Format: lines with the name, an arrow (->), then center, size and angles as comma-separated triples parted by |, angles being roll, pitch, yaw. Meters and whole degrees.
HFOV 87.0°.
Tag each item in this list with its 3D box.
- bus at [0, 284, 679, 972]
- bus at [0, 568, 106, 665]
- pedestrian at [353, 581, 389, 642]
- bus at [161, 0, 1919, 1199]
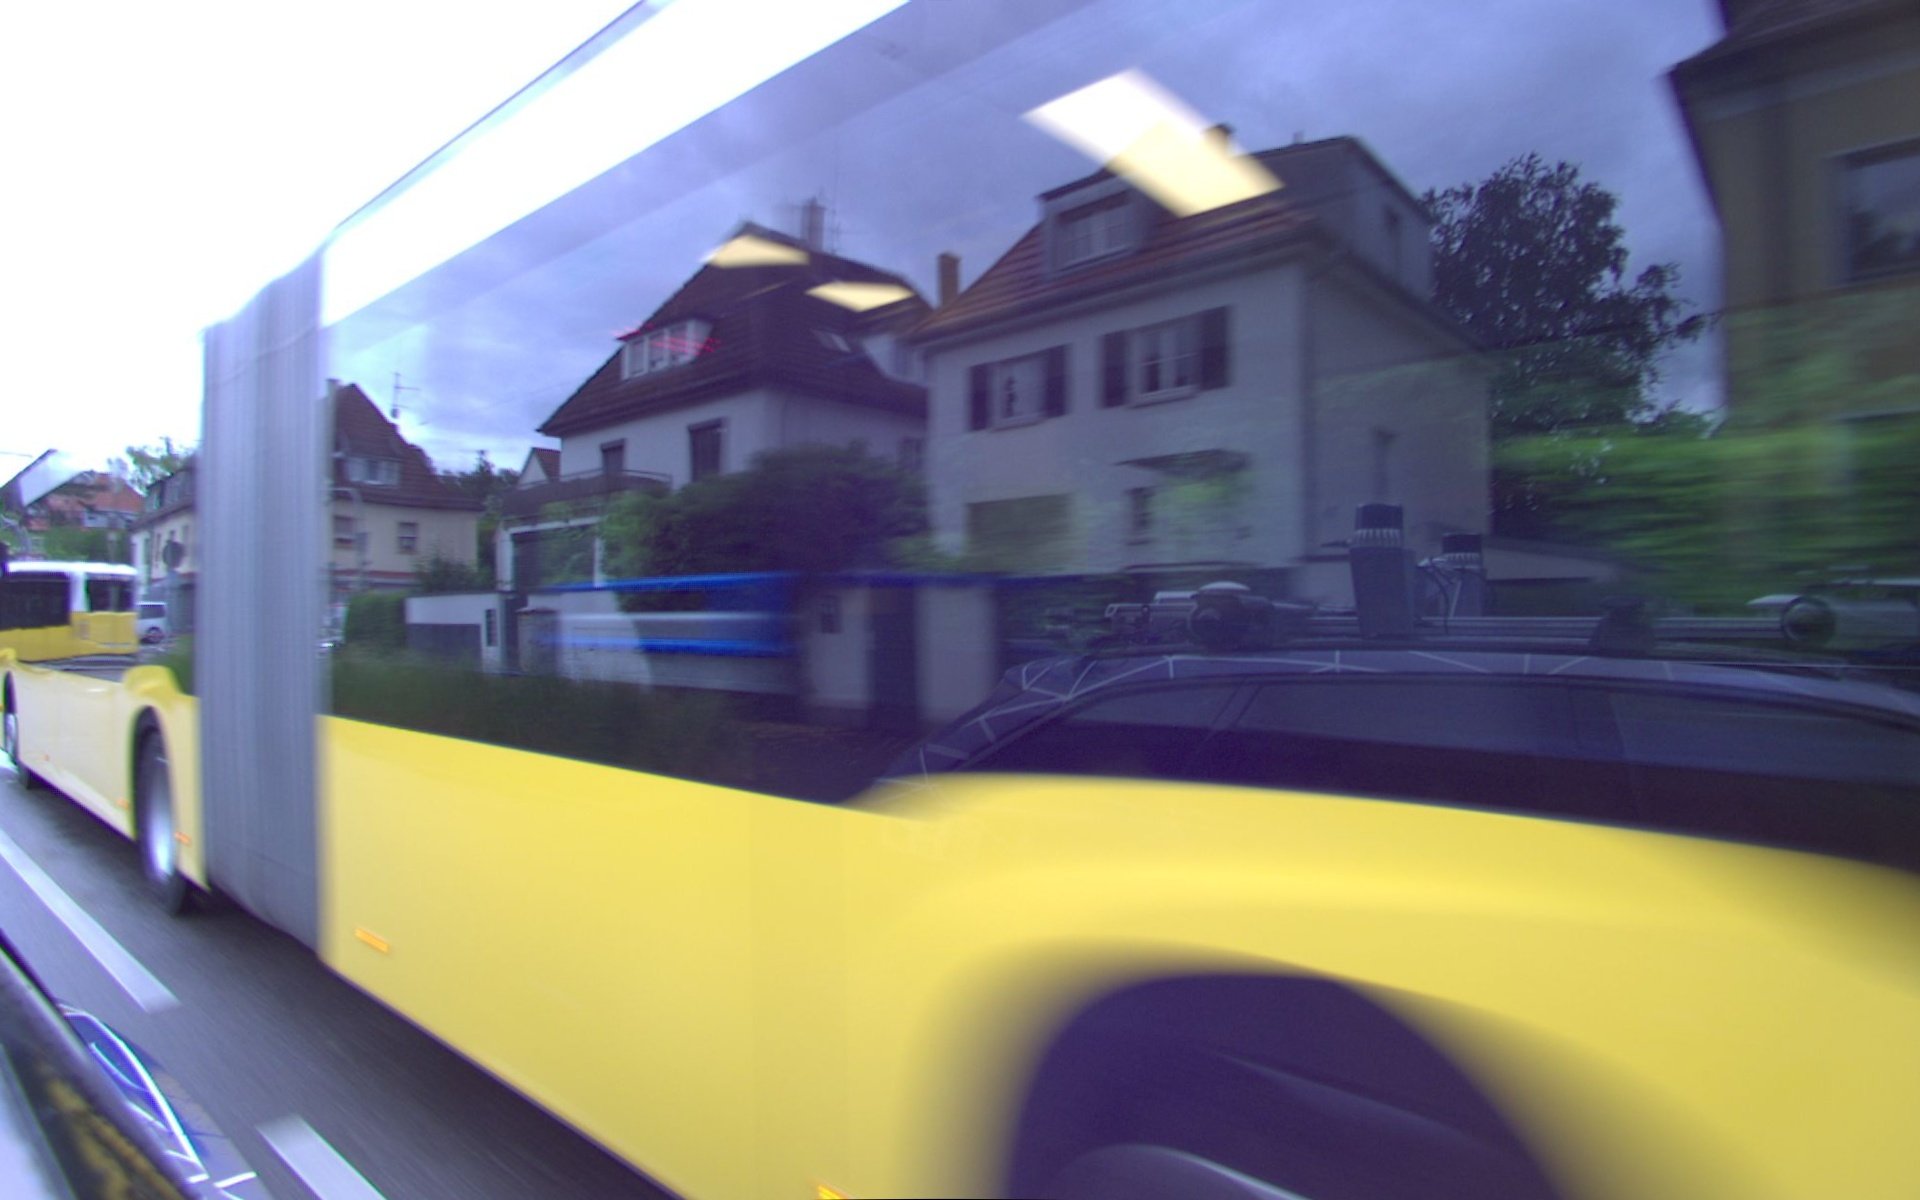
bus -> -6.145, 0.189, 8.545 | 9.225, 3.067, 2.616 | -1, -1, 41
bus -> -35.948, 0.657, 37.787 | 2.859, 3.424, 9.067 | -1, -1, -17
pedestrian -> -17.870, 0.350, 30.713 | 0.764, 1.813, 0.767 | -1, -1, 44
bus -> 0.557, -0.132, 2.614 | 8.631, 3.182, 2.568 | -1, -1, 41
